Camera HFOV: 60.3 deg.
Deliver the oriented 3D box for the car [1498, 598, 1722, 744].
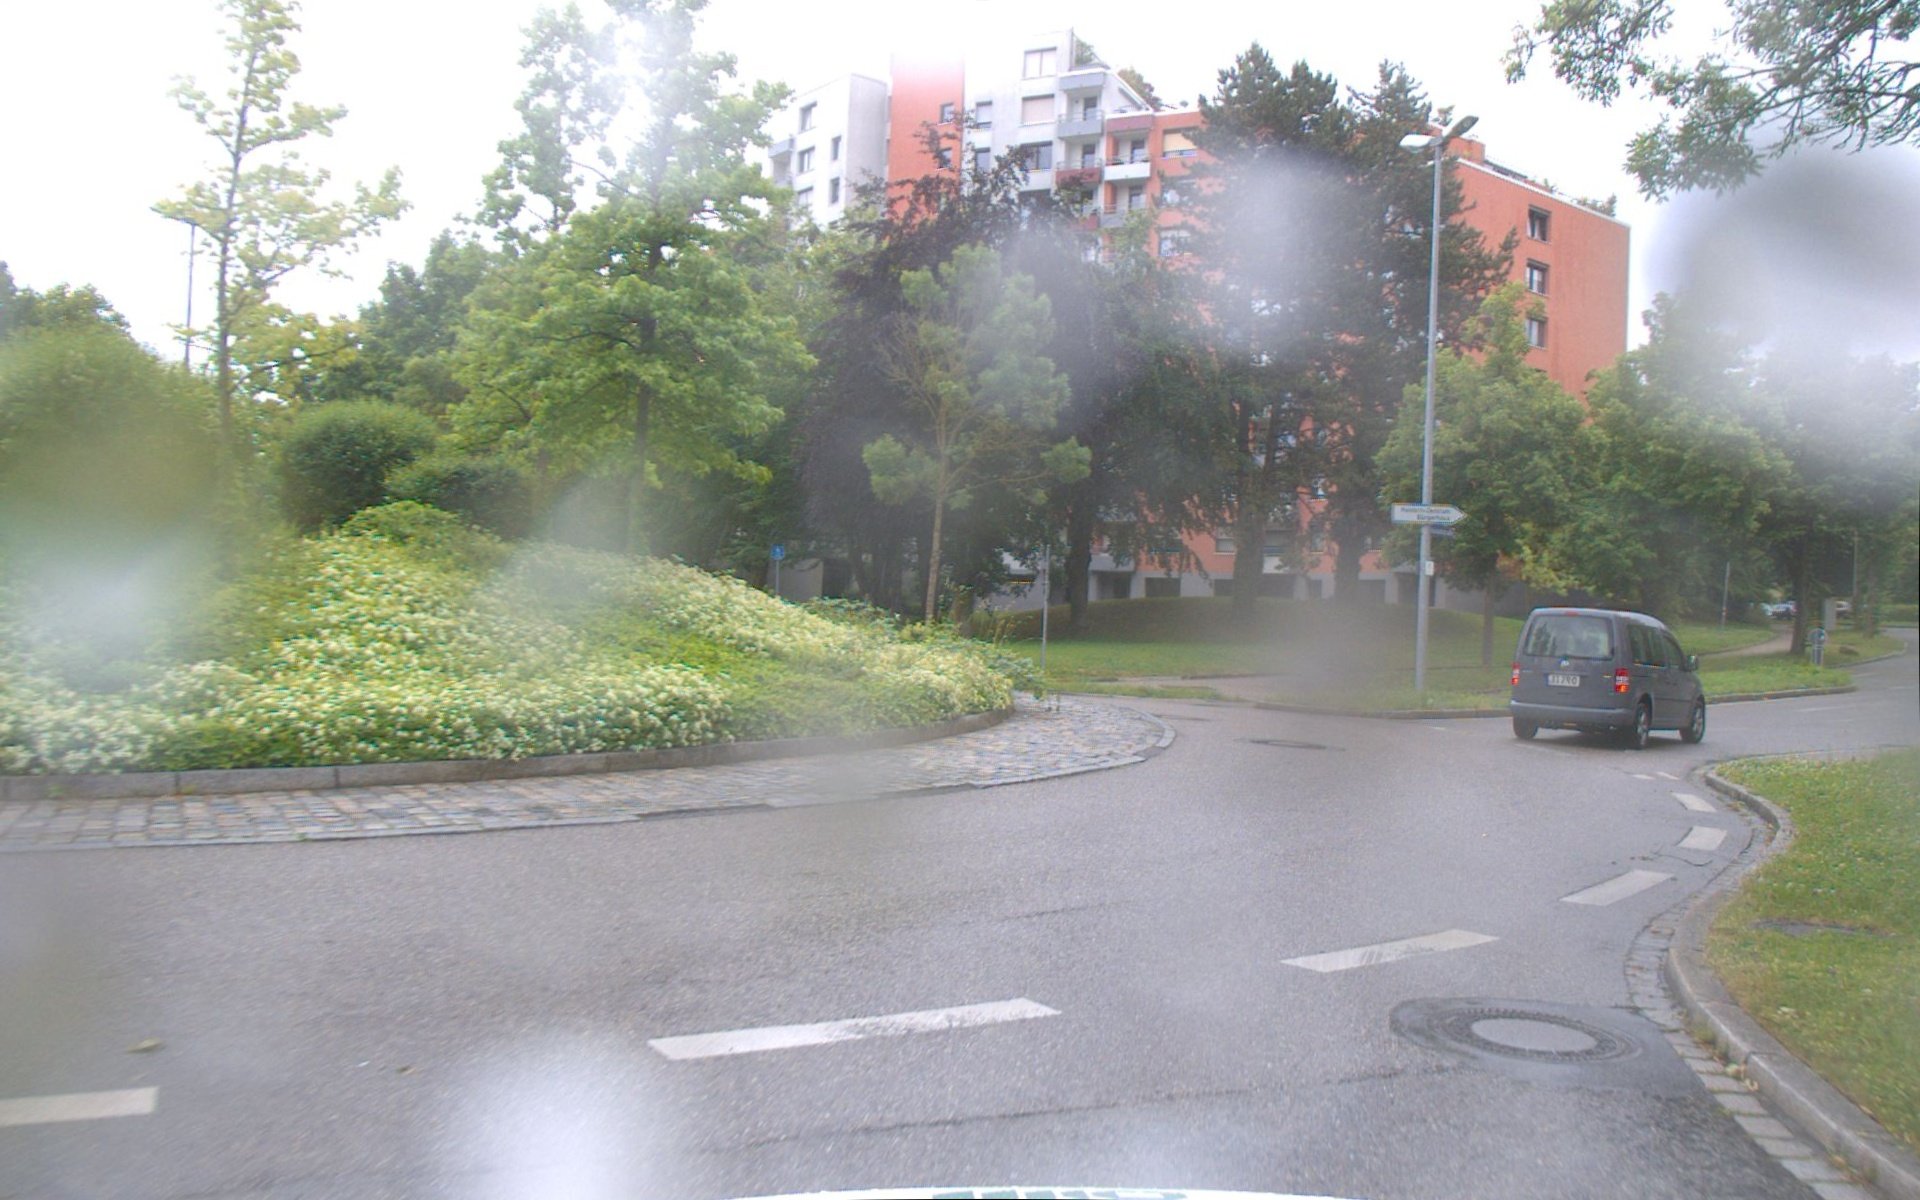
[{"bbox_3d":[9.304,1.001,23.528,1.888,1.833,3.771,2,-1,39],"label":"car"}]
